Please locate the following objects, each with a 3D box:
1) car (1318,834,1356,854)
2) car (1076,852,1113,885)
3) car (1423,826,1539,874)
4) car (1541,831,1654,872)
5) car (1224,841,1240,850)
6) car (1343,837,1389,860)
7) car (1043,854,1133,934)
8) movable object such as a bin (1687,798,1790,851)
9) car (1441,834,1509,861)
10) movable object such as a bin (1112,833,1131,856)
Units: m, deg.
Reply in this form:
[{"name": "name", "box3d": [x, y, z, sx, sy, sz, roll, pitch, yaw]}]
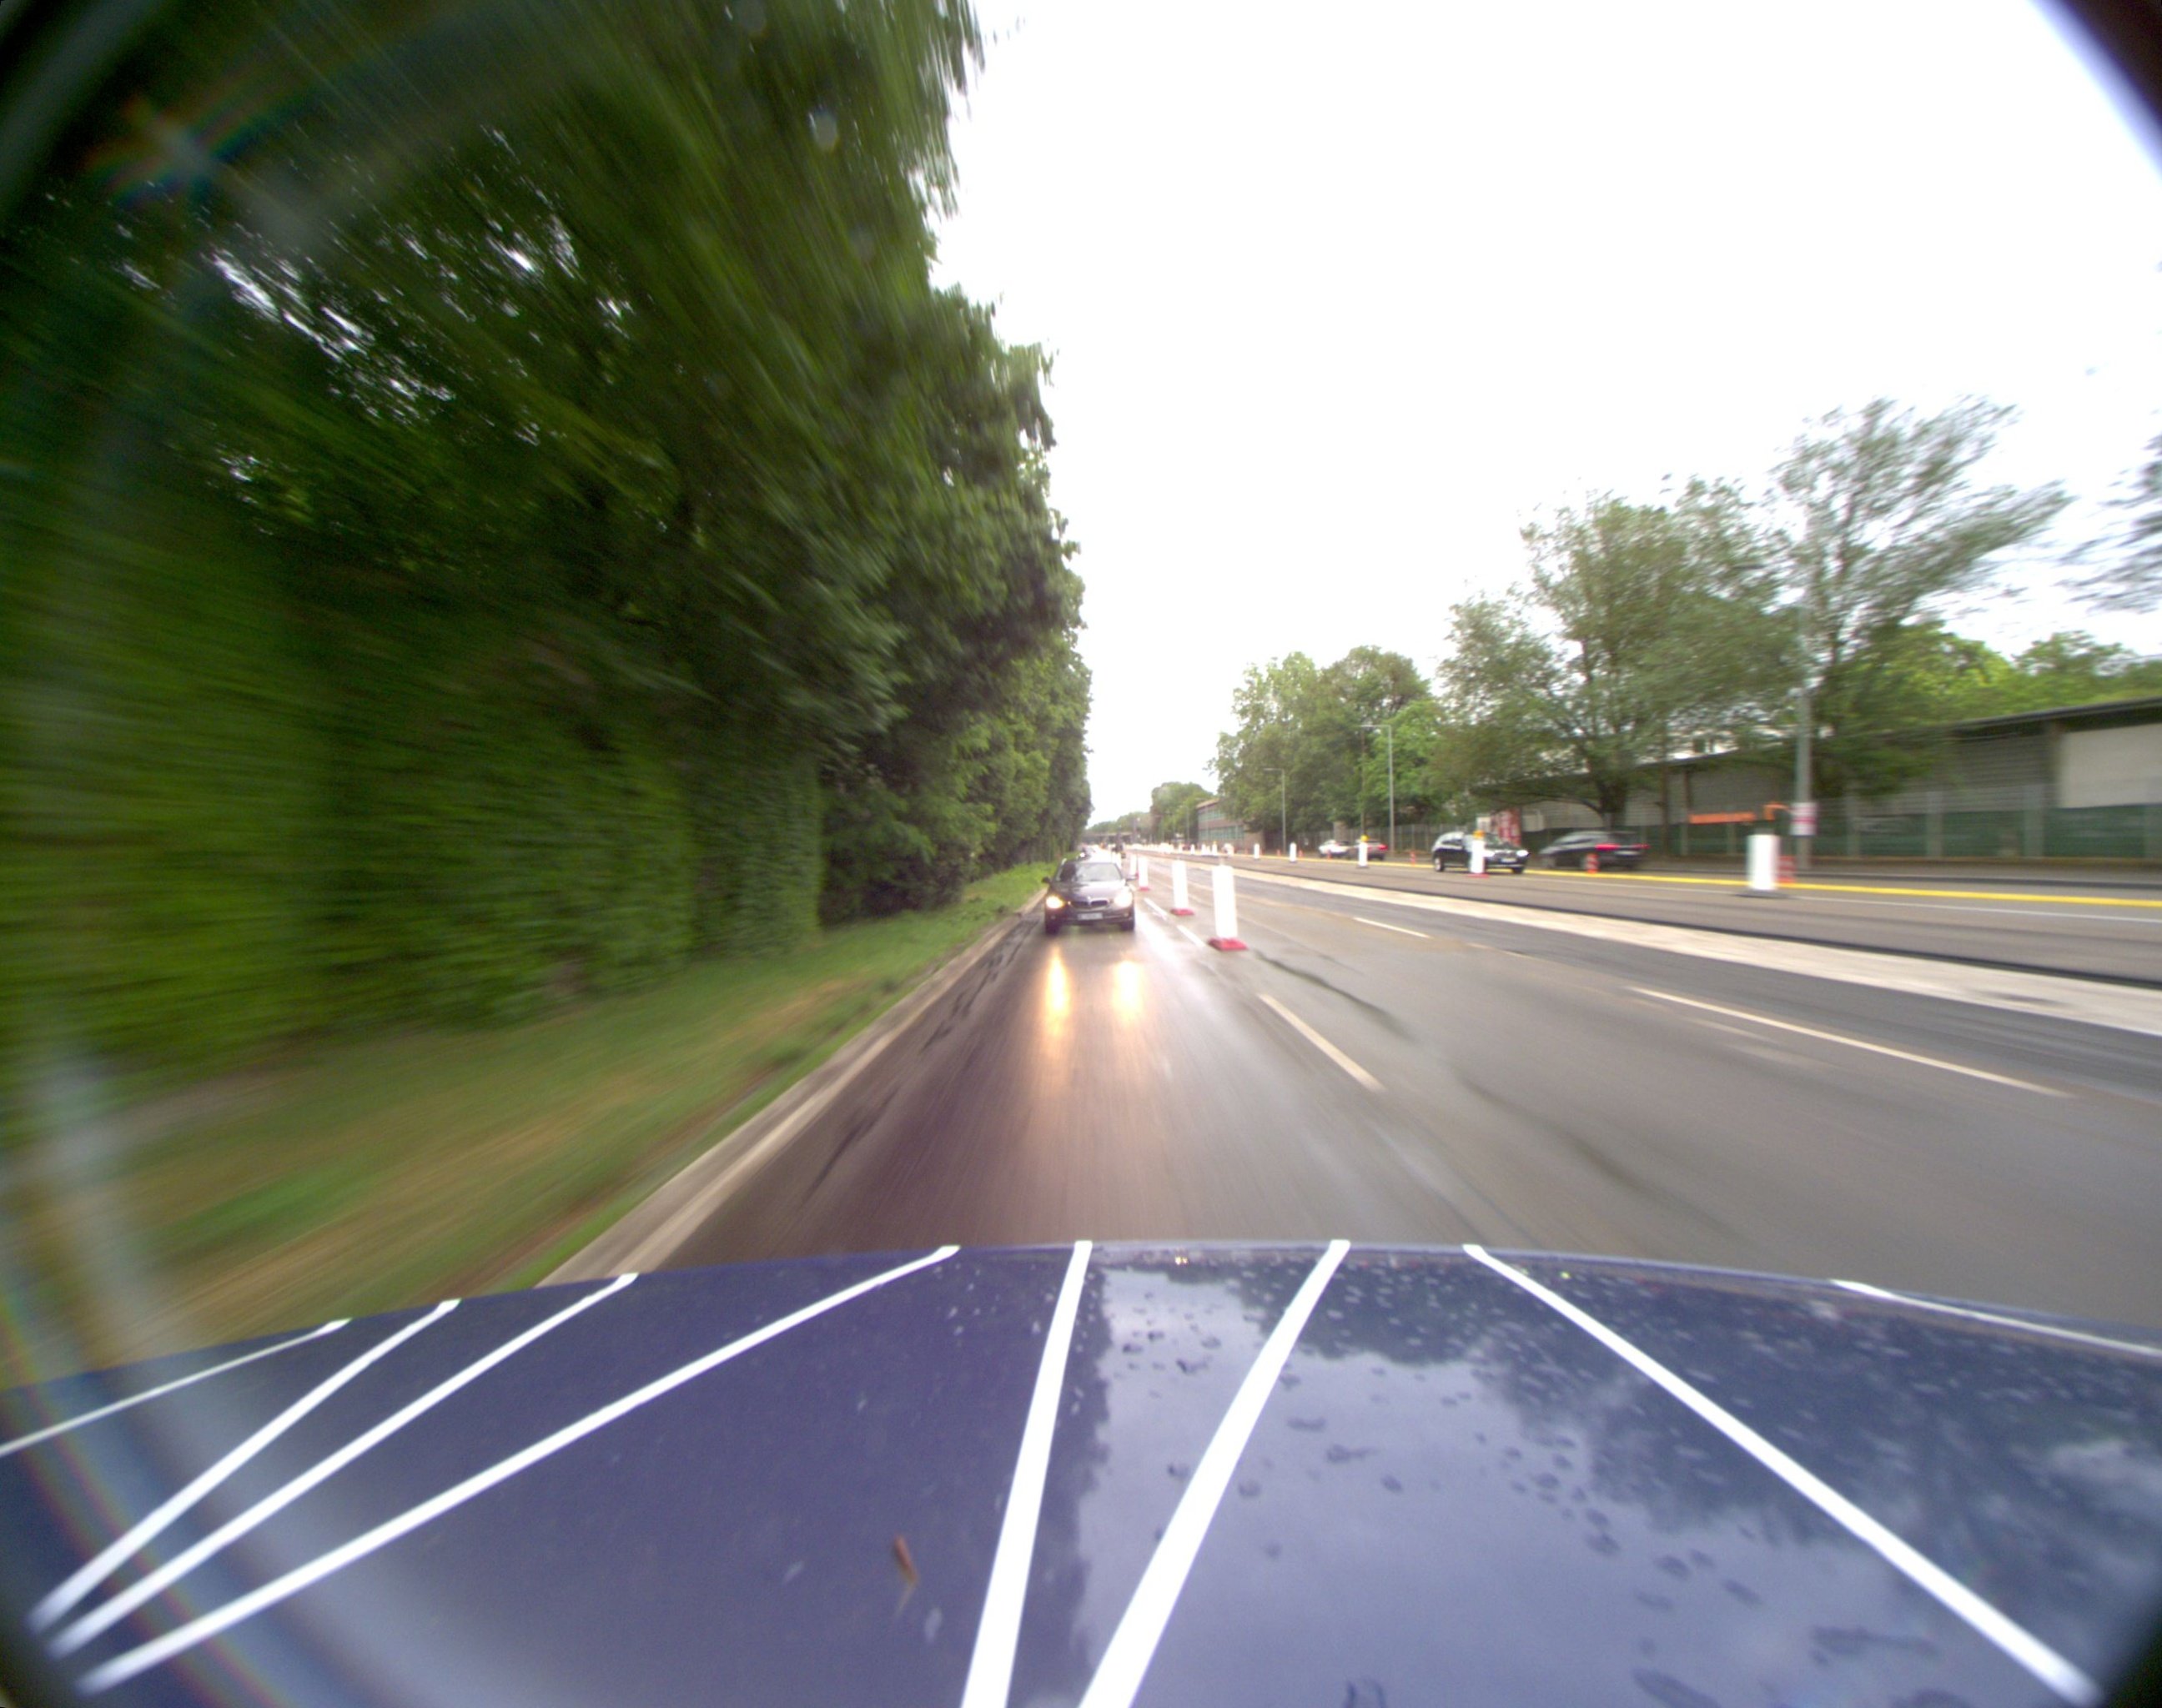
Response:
[{"name": "car", "box3d": [22.073, -0.854, 65.739, 1.863, 1.696, 4.364, 0, 1, 1]}, {"name": "car", "box3d": [0.691, 0.703, 38.707, 1.742, 1.454, 4.457, -2, 1, 1]}, {"name": "car", "box3d": [15.585, -0.155, 29.983, 1.998, 1.696, 4.984, 1, 0, 1]}, {"name": "car", "box3d": [21.526, -0.134, 31.909, 1.863, 1.621, 4.328, 0, 1, 1]}, {"name": "car", "box3d": [23.063, -1.313, 116.185, 1.671, 1.308, 4.454, 0, 1, 1]}, {"name": "car", "box3d": [21.027, -0.441, 56.240, 1.863, 1.610, 4.364, 0, 1, 1]}, {"name": "car", "box3d": [0.189, 0.792, 17.409, 1.742, 1.454, 4.457, -2, 1, 1]}, {"name": "movable object such as a bin", "box3d": [34.669, -1.499, 40.179, 4.012, 2.596, 1.757, -1, 1, 40]}, {"name": "car", "box3d": [21.862, -0.376, 42.316, 1.863, 1.467, 3.731, 0, 1, 1]}, {"name": "movable object such as a bin", "box3d": [5.454, -1.310, 103.438, 1.999, 3.084, 5.622, -2, 1, -2]}]
